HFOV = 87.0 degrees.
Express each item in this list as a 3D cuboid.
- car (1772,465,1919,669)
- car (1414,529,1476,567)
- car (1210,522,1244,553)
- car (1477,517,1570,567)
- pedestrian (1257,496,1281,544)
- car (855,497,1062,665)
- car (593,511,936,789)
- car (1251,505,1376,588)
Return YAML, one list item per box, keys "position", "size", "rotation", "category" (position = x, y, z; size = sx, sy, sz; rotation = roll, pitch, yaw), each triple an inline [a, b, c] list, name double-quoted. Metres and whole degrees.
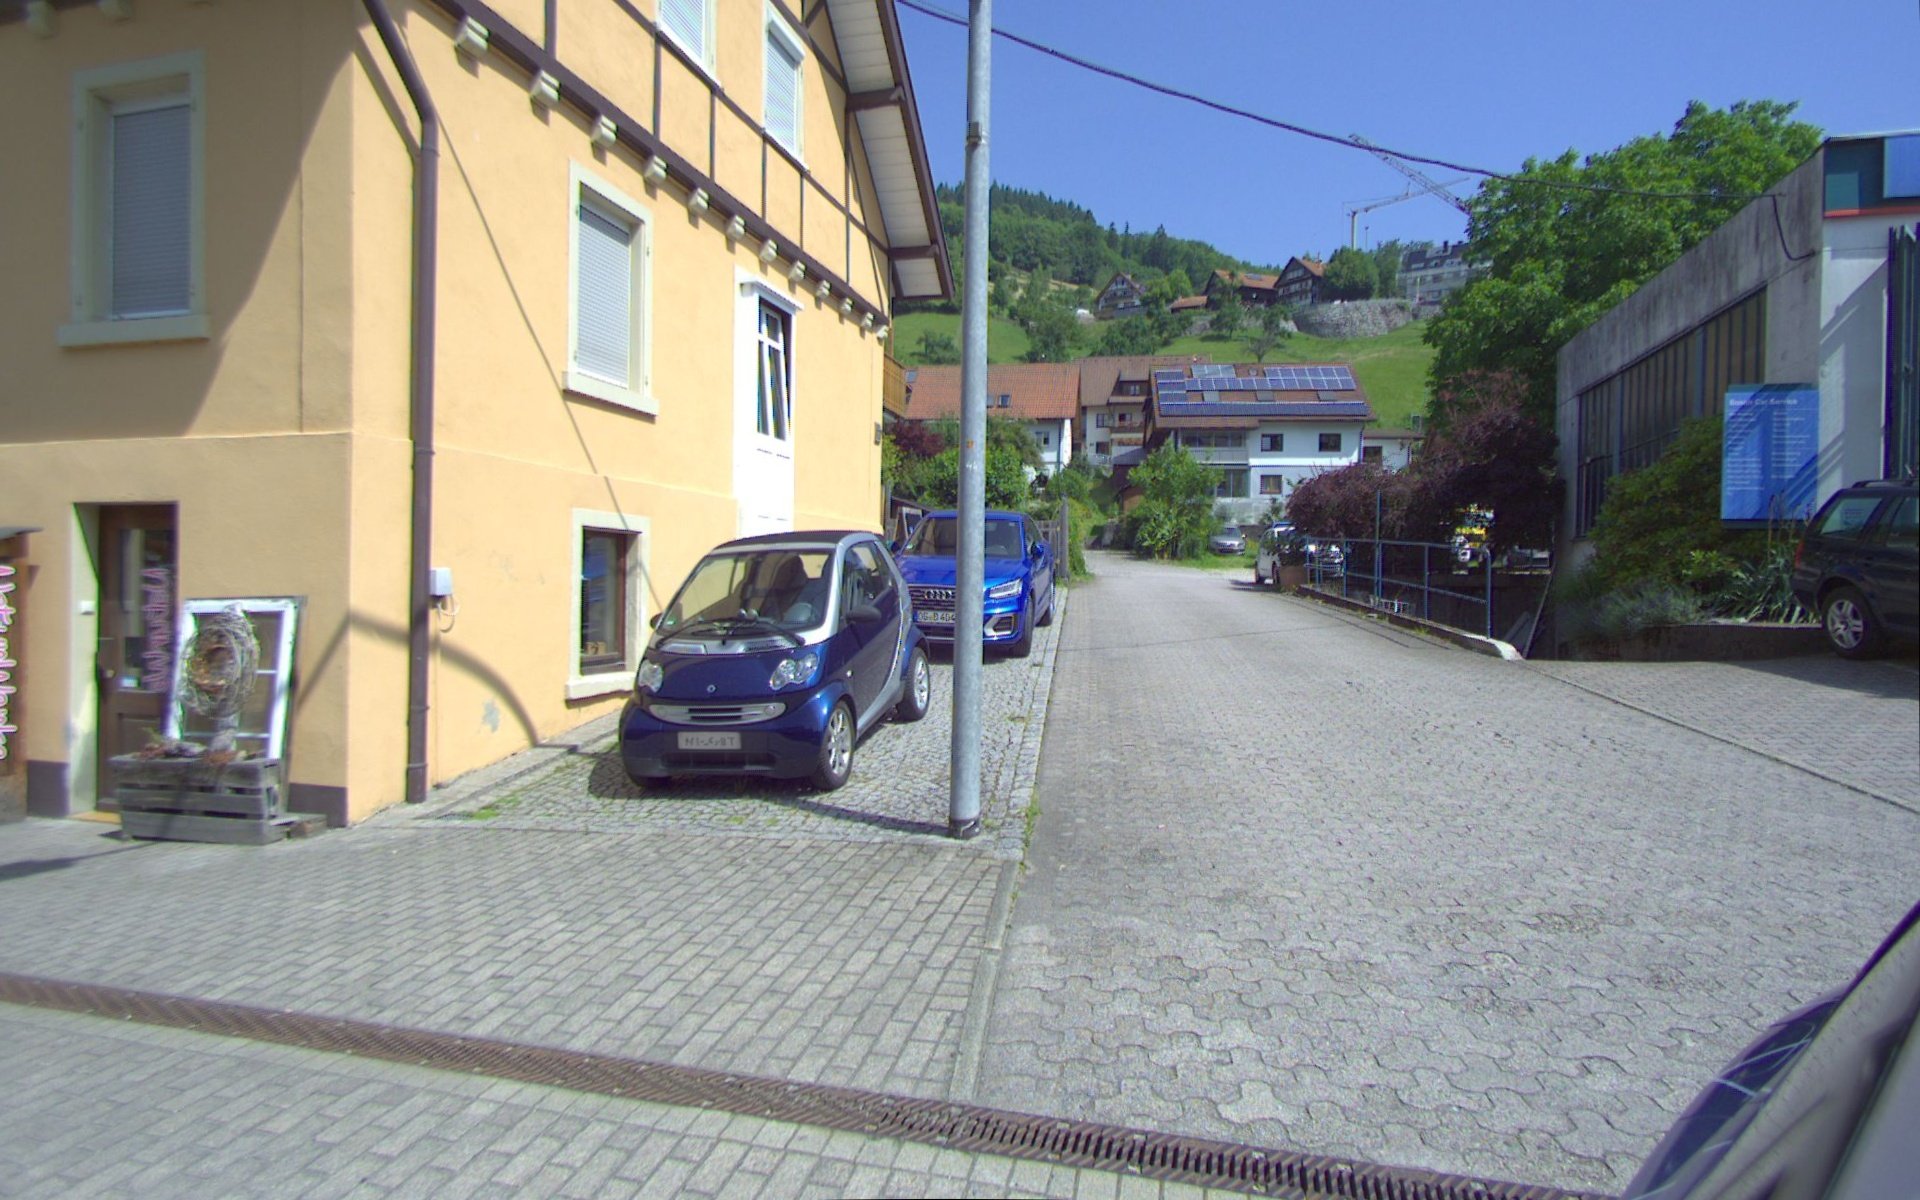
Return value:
- position: [8.189, -0.265, 7.144]
  size: [1.769, 1.563, 4.327]
  rotation: [-4, 4, 7]
  category: "car"
- position: [17.669, -1.928, 36.980]
  size: [1.447, 1.273, 3.374]
  rotation: [0, 5, 16]
  category: "car"
- position: [12.834, -3.030, 48.799]
  size: [1.323, 1.386, 3.206]
  rotation: [-3, 4, 11]
  category: "car"
- position: [19.953, -2.100, 35.996]
  size: [1.653, 1.573, 3.903]
  rotation: [-3, 4, 10]
  category: "car"
- position: [16.407, -4.231, 53.750]
  size: [0.810, 2.460, 0.829]
  rotation: [-4, 3, -16]
  category: "pedestrian"
- position: [0.167, -0.323, 12.133]
  size: [1.708, 1.644, 3.925]
  rotation: [-2, 4, 11]
  category: "car"
- position: [-1.211, 0.215, 7.314]
  size: [1.403, 1.553, 2.656]
  rotation: [-3, 5, 12]
  category: "car"
- position: [8.333, -1.332, 24.308]
  size: [1.968, 1.664, 4.868]
  rotation: [-3, 4, 10]
  category: "car"
